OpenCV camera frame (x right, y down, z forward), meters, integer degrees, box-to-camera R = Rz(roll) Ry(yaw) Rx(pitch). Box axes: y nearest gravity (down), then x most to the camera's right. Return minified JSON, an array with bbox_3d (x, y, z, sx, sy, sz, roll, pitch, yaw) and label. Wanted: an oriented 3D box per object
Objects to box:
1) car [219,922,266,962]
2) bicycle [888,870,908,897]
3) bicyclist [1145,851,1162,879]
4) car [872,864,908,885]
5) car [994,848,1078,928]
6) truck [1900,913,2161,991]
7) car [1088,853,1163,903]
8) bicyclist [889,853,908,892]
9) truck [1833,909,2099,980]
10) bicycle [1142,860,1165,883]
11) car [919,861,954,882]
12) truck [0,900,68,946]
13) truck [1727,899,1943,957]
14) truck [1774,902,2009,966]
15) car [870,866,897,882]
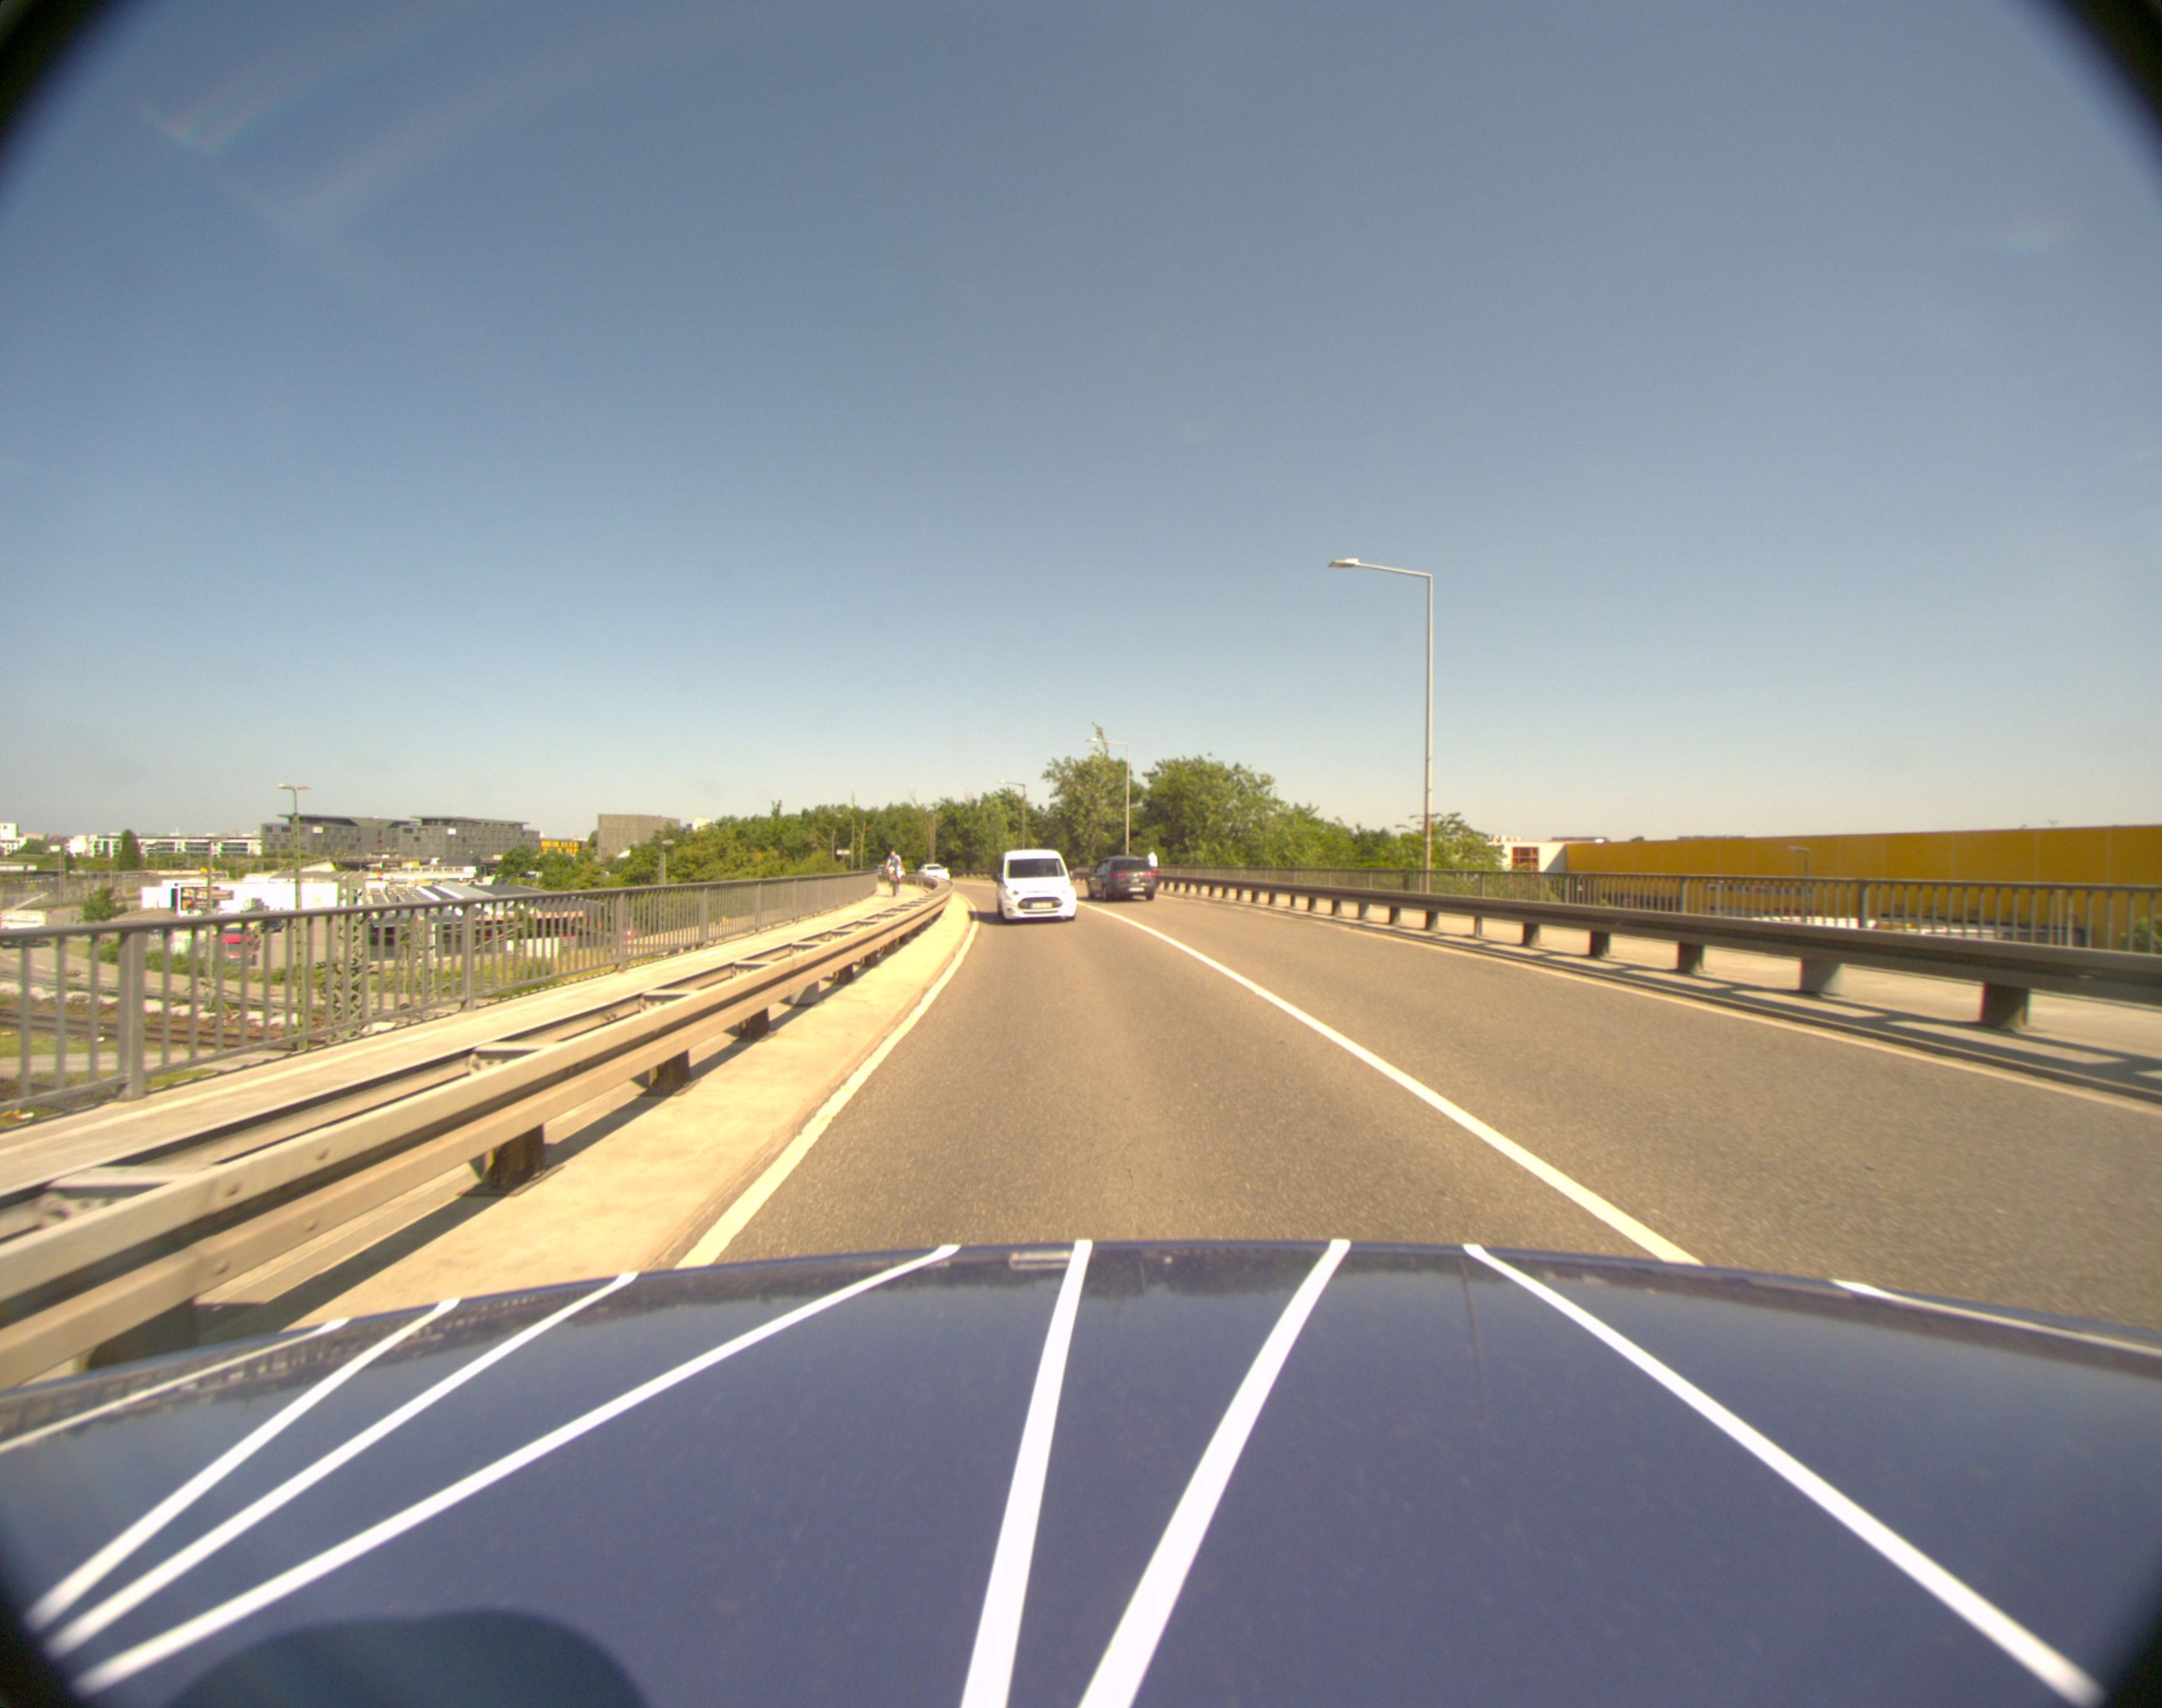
[{"bbox_3d":[-72.414,7.539,65.683,5.362,2.650,2.311,1,6,44],"label":"car"},{"bbox_3d":[-7.237,1.160,29.984,0.705,1.013,1.843,2,-1,-15],"label":"bicycle"},{"bbox_3d":[3.721,0.564,39.008,0.610,1.430,1.077,1,1,-10],"label":"bicyclist"},{"bbox_3d":[-17.808,1.907,70.743,2.002,1.577,3.990,-8,4,-31],"label":"car"},{"bbox_3d":[-1.227,0.806,19.887,1.898,1.784,4.446,-2,0,-5],"label":"car"},{"bbox_3d":[82.169,8.263,64.879,17.531,5.644,5.977,-1,1,2],"label":"truck"},{"bbox_3d":[1.497,0.822,27.240,1.738,1.615,4.300,1,-1,-10],"label":"car"},{"bbox_3d":[-7.216,0.710,30.011,0.661,1.511,0.802,2,0,-16],"label":"bicyclist"},{"bbox_3d":[82.615,8.390,71.425,17.531,5.644,5.977,-1,1,2],"label":"truck"},{"bbox_3d":[3.719,0.881,38.957,0.614,1.128,2.147,2,-1,-9],"label":"bicycle"},{"bbox_3d":[-11.276,1.332,59.024,1.849,1.479,4.144,-2,0,-23],"label":"car"},{"bbox_3d":[-107.672,6.939,77.821,13.234,4.004,3.832,-1,-2,34],"label":"truck"},{"bbox_3d":[83.016,8.095,84.142,17.531,5.644,5.977,-1,1,2],"label":"truck"},{"bbox_3d":[82.628,8.078,77.963,17.531,5.644,5.789,-1,1,2],"label":"truck"},{"bbox_3d":[-22.641,2.231,87.156,1.867,1.672,4.463,-3,1,-29],"label":"car"}]
